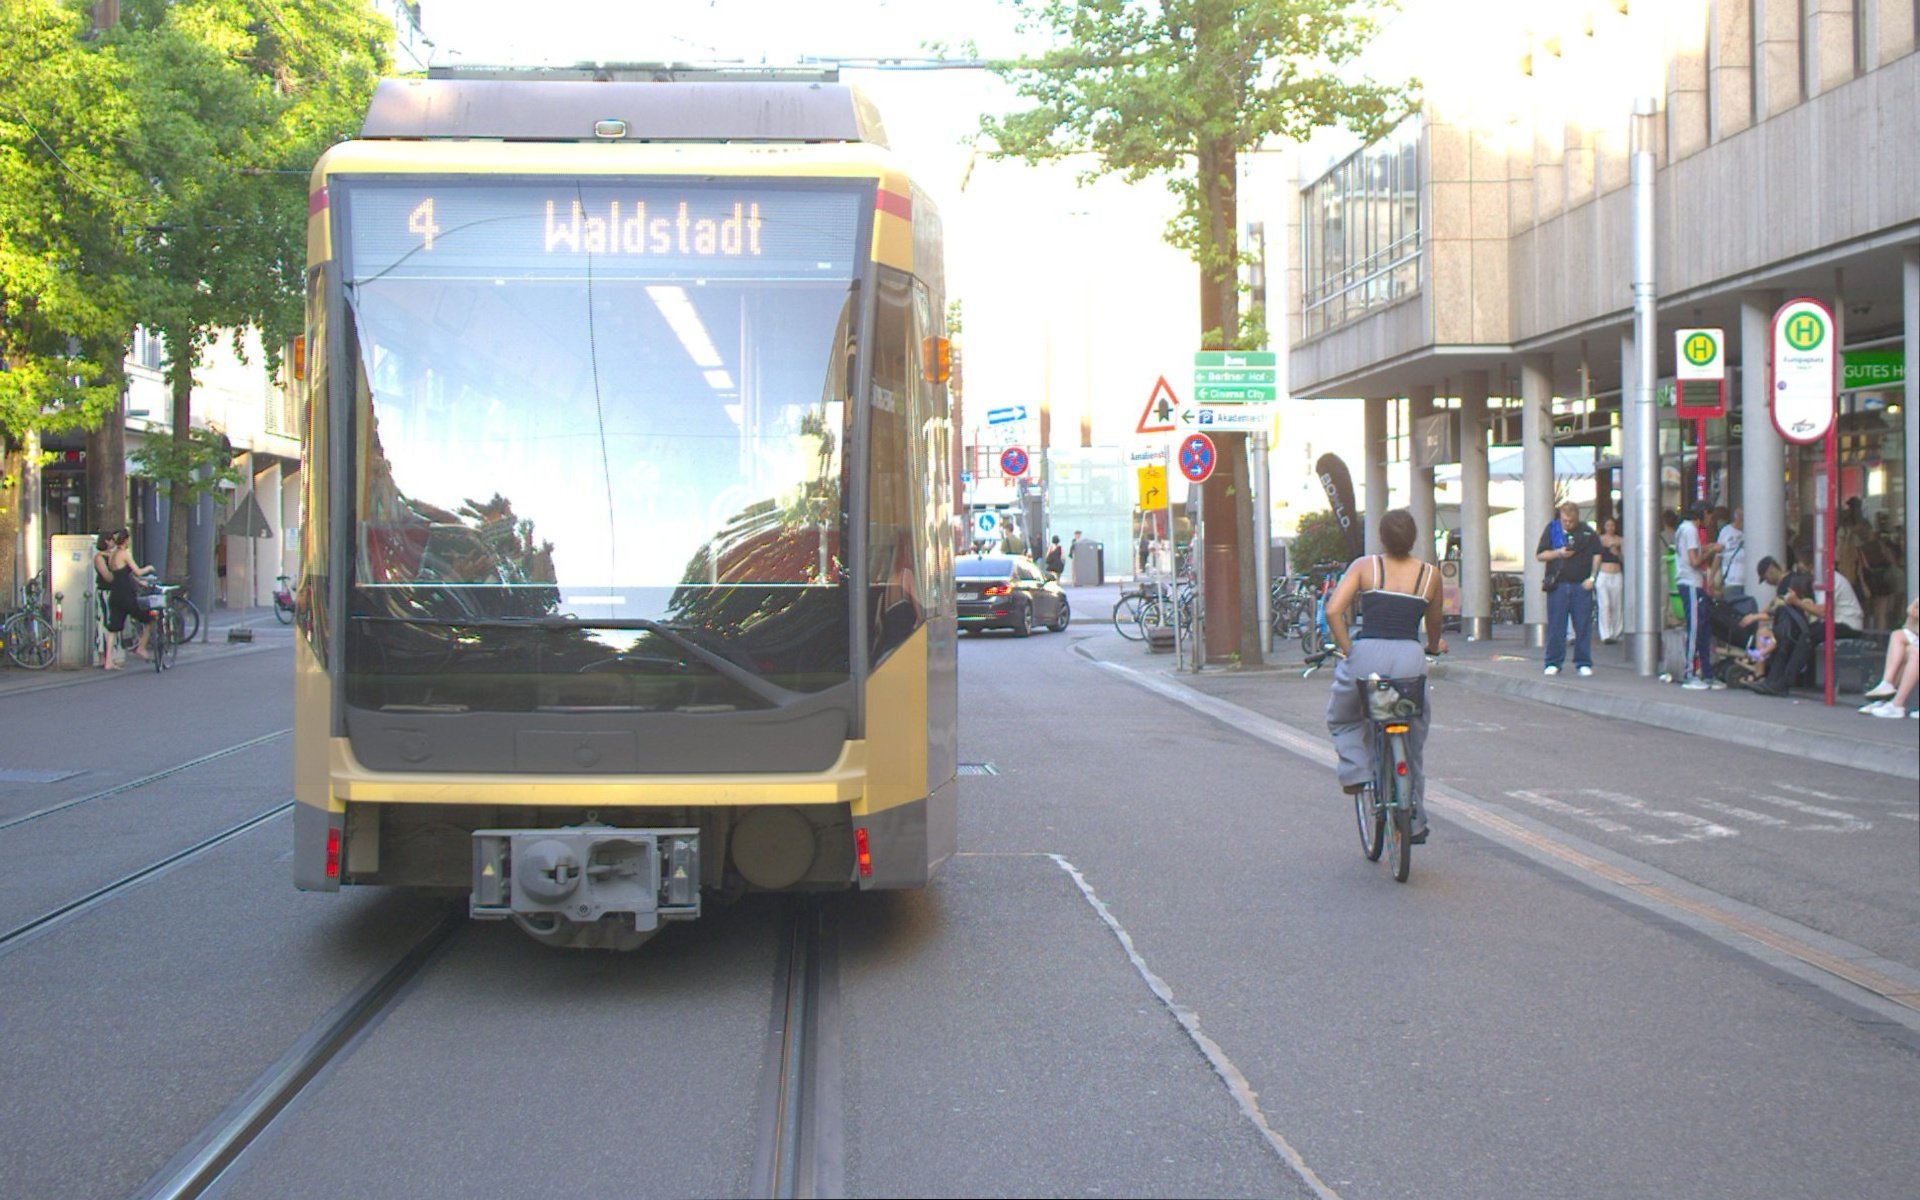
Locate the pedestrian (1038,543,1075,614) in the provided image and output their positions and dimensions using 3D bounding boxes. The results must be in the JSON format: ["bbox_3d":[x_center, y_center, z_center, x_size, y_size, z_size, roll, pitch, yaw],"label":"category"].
[{"bbox_3d":[2.472,-0.557,88.392,0.733,1.817,0.820,0,1,-16],"label":"pedestrian"}]

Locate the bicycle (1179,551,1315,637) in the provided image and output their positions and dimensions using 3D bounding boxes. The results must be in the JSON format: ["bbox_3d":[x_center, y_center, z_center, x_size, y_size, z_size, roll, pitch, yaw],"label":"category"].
[{"bbox_3d":[4.389,-0.104,52.645,1.914,1.218,0.763,-3,1,-6],"label":"bicycle"}]

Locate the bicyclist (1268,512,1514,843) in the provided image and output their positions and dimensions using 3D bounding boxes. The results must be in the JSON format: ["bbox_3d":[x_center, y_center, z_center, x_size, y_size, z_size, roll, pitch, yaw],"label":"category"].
[{"bbox_3d":[2.016,0.348,16.209,0.997,1.497,0.857,1,1,-1],"label":"bicyclist"}]

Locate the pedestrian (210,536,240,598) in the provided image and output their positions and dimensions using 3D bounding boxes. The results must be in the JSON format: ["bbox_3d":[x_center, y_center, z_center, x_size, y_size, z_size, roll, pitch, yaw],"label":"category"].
[{"bbox_3d":[-20.706,-0.927,96.881,0.713,1.719,0.709,0,0,-3],"label":"pedestrian"}]

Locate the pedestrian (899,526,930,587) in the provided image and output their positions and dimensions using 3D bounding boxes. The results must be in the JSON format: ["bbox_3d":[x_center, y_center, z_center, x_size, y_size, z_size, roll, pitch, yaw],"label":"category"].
[{"bbox_3d":[-1.368,-1.317,103.803,0.733,1.817,0.820,0,1,-16],"label":"pedestrian"}]

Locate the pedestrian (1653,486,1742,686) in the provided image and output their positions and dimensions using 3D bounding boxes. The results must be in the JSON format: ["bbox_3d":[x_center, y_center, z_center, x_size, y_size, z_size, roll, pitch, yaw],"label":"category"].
[{"bbox_3d":[6.861,-0.134,31.994,0.639,1.833,0.668,-1,0,-1],"label":"pedestrian"}]

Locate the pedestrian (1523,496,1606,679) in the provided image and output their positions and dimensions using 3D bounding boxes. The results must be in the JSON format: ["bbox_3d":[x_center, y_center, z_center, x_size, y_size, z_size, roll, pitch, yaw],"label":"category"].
[{"bbox_3d":[6.161,-0.131,35.050,0.668,1.833,0.708,-1,0,-2],"label":"pedestrian"}]

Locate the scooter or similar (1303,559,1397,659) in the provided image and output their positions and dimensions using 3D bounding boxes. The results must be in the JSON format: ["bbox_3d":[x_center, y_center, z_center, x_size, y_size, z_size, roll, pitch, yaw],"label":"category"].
[{"bbox_3d":[5.059,0.113,44.559,1.112,1.247,0.497,-2,2,-32],"label":"scooter or similar"}]

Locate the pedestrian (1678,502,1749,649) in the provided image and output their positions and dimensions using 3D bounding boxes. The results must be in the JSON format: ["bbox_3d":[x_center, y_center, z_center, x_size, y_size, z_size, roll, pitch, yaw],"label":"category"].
[{"bbox_3d":[9.233,-0.302,42.153,0.663,1.780,0.719,-1,0,-1],"label":"pedestrian"}]

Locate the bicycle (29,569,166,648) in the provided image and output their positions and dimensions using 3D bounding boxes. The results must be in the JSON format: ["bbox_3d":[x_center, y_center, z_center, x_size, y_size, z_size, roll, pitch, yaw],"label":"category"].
[{"bbox_3d":[-12.016,0.114,47.933,1.772,1.041,0.489,1,1,-2],"label":"bicycle"}]

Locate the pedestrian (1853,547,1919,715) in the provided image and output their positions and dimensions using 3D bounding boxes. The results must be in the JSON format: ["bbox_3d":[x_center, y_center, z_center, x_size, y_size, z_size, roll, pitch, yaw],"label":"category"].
[{"bbox_3d":[7.447,0.241,27.011,0.718,1.310,0.532,0,0,0],"label":"pedestrian"}]

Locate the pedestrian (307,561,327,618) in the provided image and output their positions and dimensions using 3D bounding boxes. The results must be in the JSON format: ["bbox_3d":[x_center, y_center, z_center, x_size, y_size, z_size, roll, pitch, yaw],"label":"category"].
[{"bbox_3d":[-17.449,-0.275,93.333,0.508,1.542,0.518,0,0,-10],"label":"pedestrian"}]

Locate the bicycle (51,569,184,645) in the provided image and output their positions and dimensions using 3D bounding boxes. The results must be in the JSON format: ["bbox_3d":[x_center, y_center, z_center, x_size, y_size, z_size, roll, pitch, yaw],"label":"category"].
[{"bbox_3d":[-12.082,0.099,49.324,1.772,1.041,0.489,1,1,-2],"label":"bicycle"}]

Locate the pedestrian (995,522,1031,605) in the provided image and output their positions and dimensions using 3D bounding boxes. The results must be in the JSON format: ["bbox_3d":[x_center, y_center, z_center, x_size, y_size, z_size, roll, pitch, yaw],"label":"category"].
[{"bbox_3d":[1.106,-0.767,72.380,0.718,1.719,0.709,0,0,-1],"label":"pedestrian"}]

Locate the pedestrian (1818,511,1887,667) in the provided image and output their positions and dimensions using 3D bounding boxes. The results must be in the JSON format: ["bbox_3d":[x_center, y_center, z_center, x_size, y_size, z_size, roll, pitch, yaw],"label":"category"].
[{"bbox_3d":[10.047,-0.125,38.709,0.570,1.725,0.617,-1,1,-3],"label":"pedestrian"}]

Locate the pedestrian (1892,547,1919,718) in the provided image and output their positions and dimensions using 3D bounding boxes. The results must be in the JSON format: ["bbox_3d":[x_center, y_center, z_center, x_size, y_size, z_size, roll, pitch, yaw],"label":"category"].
[{"bbox_3d":[7.610,0.247,26.466,0.718,1.310,0.524,0,0,0],"label":"pedestrian"}]

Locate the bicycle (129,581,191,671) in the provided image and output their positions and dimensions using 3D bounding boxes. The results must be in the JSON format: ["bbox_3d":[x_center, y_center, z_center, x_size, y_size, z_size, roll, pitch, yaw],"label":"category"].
[{"bbox_3d":[-9.781,0.306,42.059,0.488,1.041,1.778,0,1,-5],"label":"bicycle"}]

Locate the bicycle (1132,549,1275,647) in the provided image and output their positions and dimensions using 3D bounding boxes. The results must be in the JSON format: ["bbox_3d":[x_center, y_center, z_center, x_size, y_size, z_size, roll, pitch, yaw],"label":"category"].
[{"bbox_3d":[3.531,-0.037,49.883,1.914,1.328,0.726,-3,1,-6],"label":"bicycle"}]

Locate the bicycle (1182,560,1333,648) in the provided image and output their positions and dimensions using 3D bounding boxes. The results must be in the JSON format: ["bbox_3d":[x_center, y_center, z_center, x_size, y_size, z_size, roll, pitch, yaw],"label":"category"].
[{"bbox_3d":[4.231,0.044,48.908,1.995,1.151,0.726,-3,1,-6],"label":"bicycle"}]

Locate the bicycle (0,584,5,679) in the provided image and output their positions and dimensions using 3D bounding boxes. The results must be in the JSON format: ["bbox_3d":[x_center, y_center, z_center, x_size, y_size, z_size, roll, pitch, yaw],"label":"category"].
[{"bbox_3d":[-11.729,0.336,38.753,1.771,1.067,0.489,2,1,-7],"label":"bicycle"}]

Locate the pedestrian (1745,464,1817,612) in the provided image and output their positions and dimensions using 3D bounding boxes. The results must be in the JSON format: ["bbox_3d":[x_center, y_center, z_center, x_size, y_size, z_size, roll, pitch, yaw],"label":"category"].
[{"bbox_3d":[10.048,-0.753,42.108,0.663,1.780,0.719,-1,0,-1],"label":"pedestrian"}]

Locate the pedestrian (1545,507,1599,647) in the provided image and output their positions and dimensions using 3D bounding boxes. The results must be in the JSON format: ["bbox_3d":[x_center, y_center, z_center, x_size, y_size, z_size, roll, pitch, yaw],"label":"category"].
[{"bbox_3d":[7.975,-0.303,44.809,0.539,1.800,0.604,-1,1,-3],"label":"pedestrian"}]

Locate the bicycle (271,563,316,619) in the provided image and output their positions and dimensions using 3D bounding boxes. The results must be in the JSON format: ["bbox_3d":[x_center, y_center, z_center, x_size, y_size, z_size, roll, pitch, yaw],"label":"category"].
[{"bbox_3d":[-13.991,-0.201,72.188,0.498,1.104,1.800,0,2,3],"label":"bicycle"}]

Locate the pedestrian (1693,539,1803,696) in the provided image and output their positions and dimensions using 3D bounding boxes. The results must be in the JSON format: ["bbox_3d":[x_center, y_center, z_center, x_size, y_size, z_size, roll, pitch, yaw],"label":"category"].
[{"bbox_3d":[6.999,0.148,30.569,0.813,1.376,0.662,0,0,0],"label":"pedestrian"}]

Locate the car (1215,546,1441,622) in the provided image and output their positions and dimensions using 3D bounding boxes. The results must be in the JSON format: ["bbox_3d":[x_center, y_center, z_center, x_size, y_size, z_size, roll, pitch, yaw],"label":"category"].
[{"bbox_3d":[6.910,-0.290,64.651,3.887,1.404,1.776,0,0,-9],"label":"car"}]

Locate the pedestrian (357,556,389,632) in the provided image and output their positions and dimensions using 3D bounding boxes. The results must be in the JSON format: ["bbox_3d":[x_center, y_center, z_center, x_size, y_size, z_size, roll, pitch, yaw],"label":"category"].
[{"bbox_3d":[-11.478,-0.116,67.234,0.603,1.489,0.555,0,0,-10],"label":"pedestrian"}]

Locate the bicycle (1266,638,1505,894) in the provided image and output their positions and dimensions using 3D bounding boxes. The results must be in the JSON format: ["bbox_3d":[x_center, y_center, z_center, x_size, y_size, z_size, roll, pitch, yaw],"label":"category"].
[{"bbox_3d":[2.002,0.757,16.482,0.815,1.069,2.113,1,1,-1],"label":"bicycle"}]

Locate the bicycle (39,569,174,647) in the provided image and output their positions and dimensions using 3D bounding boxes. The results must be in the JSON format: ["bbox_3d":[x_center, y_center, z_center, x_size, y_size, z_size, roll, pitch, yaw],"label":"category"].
[{"bbox_3d":[-12.034,0.108,48.504,1.772,1.041,0.489,1,1,-2],"label":"bicycle"}]

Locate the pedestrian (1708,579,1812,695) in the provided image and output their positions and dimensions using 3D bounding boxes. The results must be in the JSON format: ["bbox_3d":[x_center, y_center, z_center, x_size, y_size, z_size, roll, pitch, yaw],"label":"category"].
[{"bbox_3d":[7.289,0.334,31.328,0.813,1.039,0.544,0,0,0],"label":"pedestrian"}]

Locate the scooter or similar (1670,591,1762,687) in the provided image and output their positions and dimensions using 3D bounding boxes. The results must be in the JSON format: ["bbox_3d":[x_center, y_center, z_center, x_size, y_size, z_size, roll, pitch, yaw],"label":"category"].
[{"bbox_3d":[7.188,0.362,32.692,0.834,0.881,0.686,1,1,12],"label":"scooter or similar"}]

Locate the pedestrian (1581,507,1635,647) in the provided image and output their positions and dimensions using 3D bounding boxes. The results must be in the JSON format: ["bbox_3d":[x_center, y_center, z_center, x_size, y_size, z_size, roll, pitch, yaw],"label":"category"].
[{"bbox_3d":[8.471,-0.302,44.977,0.539,1.800,0.604,-1,1,-3],"label":"pedestrian"}]

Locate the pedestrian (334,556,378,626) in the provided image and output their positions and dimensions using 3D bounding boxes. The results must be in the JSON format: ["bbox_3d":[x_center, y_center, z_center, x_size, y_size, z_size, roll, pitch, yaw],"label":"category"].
[{"bbox_3d":[-12.450,-0.183,70.859,0.555,1.429,0.684,-1,0,36],"label":"pedestrian"}]

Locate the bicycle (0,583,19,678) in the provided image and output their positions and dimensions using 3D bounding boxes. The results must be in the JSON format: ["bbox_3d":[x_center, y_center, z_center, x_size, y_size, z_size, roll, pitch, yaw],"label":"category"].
[{"bbox_3d":[-11.742,0.329,39.405,1.771,1.067,0.489,2,1,-7],"label":"bicycle"}]

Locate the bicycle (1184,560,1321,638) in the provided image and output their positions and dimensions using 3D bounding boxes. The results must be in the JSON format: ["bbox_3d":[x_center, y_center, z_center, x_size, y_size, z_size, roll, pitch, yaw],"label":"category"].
[{"bbox_3d":[4.412,-0.016,51.900,1.914,1.074,0.763,-3,1,-6],"label":"bicycle"}]

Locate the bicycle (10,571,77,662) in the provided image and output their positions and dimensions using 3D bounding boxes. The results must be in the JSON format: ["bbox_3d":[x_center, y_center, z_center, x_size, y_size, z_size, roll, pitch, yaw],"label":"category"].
[{"bbox_3d":[-11.144,0.190,41.831,0.488,1.041,1.778,0,1,-5],"label":"bicycle"}]

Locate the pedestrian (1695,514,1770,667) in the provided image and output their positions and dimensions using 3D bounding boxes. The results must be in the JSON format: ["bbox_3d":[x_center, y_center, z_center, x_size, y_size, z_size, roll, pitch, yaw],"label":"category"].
[{"bbox_3d":[8.527,-0.107,37.953,0.648,1.655,0.650,-1,1,-1],"label":"pedestrian"}]

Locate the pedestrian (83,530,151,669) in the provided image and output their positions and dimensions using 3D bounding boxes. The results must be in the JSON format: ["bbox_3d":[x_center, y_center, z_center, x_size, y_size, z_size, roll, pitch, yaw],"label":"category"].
[{"bbox_3d":[-10.396,-0.017,42.399,0.602,1.693,0.535,1,1,27],"label":"pedestrian"}]

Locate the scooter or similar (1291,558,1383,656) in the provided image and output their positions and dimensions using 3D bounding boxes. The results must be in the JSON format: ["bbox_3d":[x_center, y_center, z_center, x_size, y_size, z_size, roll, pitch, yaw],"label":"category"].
[{"bbox_3d":[4.976,0.090,45.332,1.187,1.247,0.393,-2,2,-31],"label":"scooter or similar"}]

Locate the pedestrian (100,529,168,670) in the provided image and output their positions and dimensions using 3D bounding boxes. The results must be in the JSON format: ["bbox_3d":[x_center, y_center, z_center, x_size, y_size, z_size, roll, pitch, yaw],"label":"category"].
[{"bbox_3d":[-10.074,-0.011,41.948,0.602,1.693,0.535,1,1,27],"label":"pedestrian"}]

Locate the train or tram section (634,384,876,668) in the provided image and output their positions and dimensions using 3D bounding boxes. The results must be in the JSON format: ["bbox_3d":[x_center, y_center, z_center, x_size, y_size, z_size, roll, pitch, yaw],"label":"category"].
[{"bbox_3d":[-2.693,-1.005,47.443,2.800,3.308,14.510,0,1,-2],"label":"train or tram section"}]

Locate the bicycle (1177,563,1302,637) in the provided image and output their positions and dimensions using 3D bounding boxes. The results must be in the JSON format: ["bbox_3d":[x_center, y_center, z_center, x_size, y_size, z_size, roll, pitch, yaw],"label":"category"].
[{"bbox_3d":[4.414,-0.010,54.297,1.852,1.105,0.667,-2,1,-4],"label":"bicycle"}]

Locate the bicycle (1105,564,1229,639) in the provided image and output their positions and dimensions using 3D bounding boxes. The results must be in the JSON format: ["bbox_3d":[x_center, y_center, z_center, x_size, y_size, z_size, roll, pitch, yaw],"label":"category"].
[{"bbox_3d":[3.250,0.023,54.066,1.852,1.105,0.667,-2,1,-4],"label":"bicycle"}]

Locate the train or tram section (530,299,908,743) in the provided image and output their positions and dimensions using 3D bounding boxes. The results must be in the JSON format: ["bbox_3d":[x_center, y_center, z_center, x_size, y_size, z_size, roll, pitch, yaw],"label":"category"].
[{"bbox_3d":[-2.097,-0.730,32.961,2.800,3.308,14.510,0,1,-2],"label":"train or tram section"}]

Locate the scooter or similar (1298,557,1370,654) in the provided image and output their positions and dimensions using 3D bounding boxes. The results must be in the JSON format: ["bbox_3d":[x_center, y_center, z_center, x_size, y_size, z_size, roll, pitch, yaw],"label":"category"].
[{"bbox_3d":[5.005,0.071,45.948,0.393,1.247,1.189,0,2,36],"label":"scooter or similar"}]

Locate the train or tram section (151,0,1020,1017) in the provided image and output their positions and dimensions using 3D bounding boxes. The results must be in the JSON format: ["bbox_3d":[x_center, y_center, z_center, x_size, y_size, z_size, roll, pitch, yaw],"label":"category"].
[{"bbox_3d":[-1.508,-0.445,18.458,2.800,3.308,14.510,0,1,-2],"label":"train or tram section"}]

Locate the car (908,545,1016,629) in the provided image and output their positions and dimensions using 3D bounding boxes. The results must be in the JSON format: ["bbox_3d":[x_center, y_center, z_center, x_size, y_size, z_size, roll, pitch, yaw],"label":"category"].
[{"bbox_3d":[0.063,-0.208,59.612,1.770,1.404,4.052,0,0,1],"label":"car"}]

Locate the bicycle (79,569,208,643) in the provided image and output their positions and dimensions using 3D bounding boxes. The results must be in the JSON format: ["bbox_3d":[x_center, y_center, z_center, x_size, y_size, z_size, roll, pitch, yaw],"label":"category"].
[{"bbox_3d":[-12.102,0.082,50.966,1.772,1.041,0.489,1,1,-2],"label":"bicycle"}]

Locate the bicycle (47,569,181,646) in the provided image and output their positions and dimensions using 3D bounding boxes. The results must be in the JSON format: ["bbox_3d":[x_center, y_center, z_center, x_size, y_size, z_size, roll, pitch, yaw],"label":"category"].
[{"bbox_3d":[-12.077,0.102,49.082,1.772,1.041,0.489,1,1,-2],"label":"bicycle"}]
